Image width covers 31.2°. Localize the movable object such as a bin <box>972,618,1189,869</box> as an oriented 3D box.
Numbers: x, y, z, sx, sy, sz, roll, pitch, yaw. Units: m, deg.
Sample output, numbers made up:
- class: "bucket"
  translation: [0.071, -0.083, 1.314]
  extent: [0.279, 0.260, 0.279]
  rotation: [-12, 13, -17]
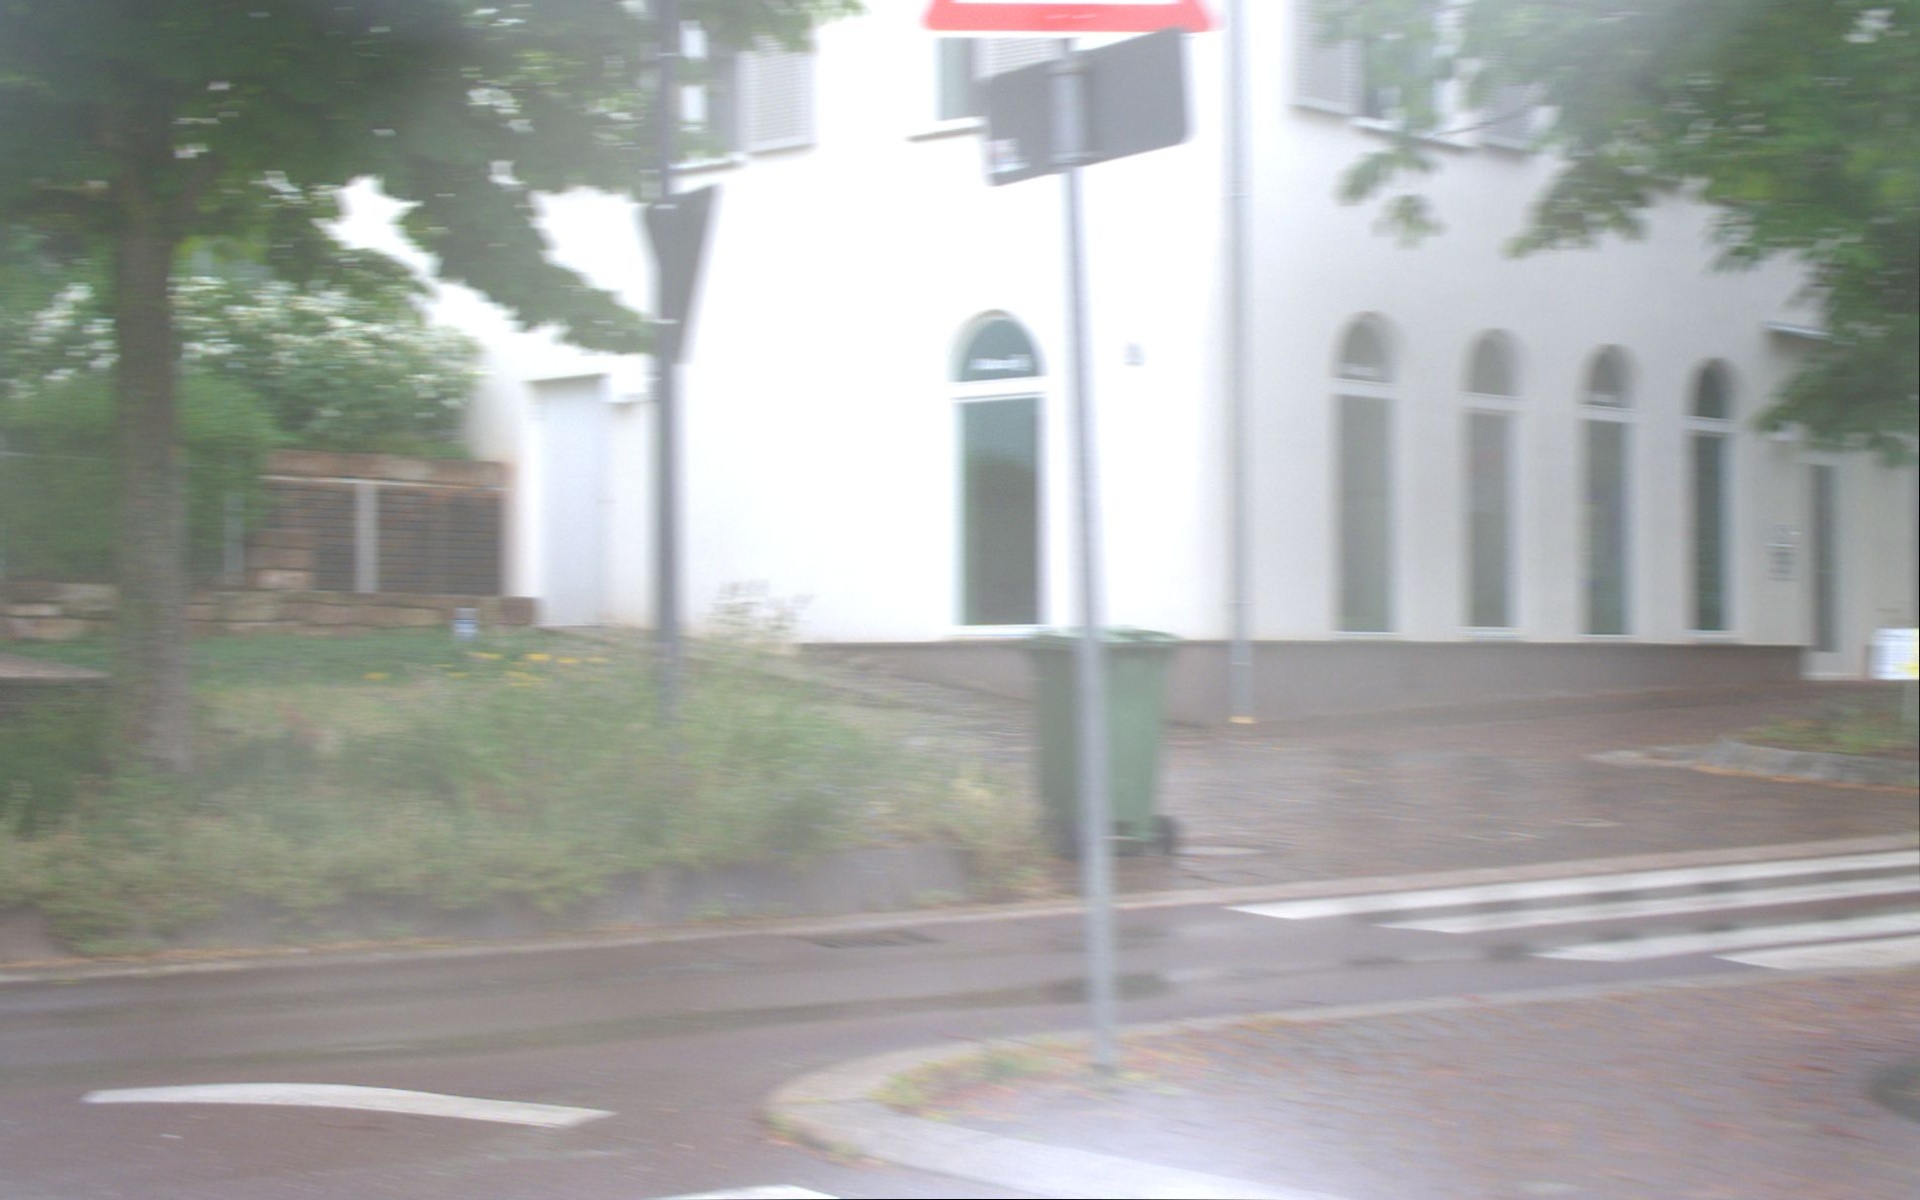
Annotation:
- class: "movable object such as a bin"
  translation: [0.559, 0.655, 15.969]
  extent: [0.648, 1.120, 0.739]
  rotation: [-1, -1, -44]
